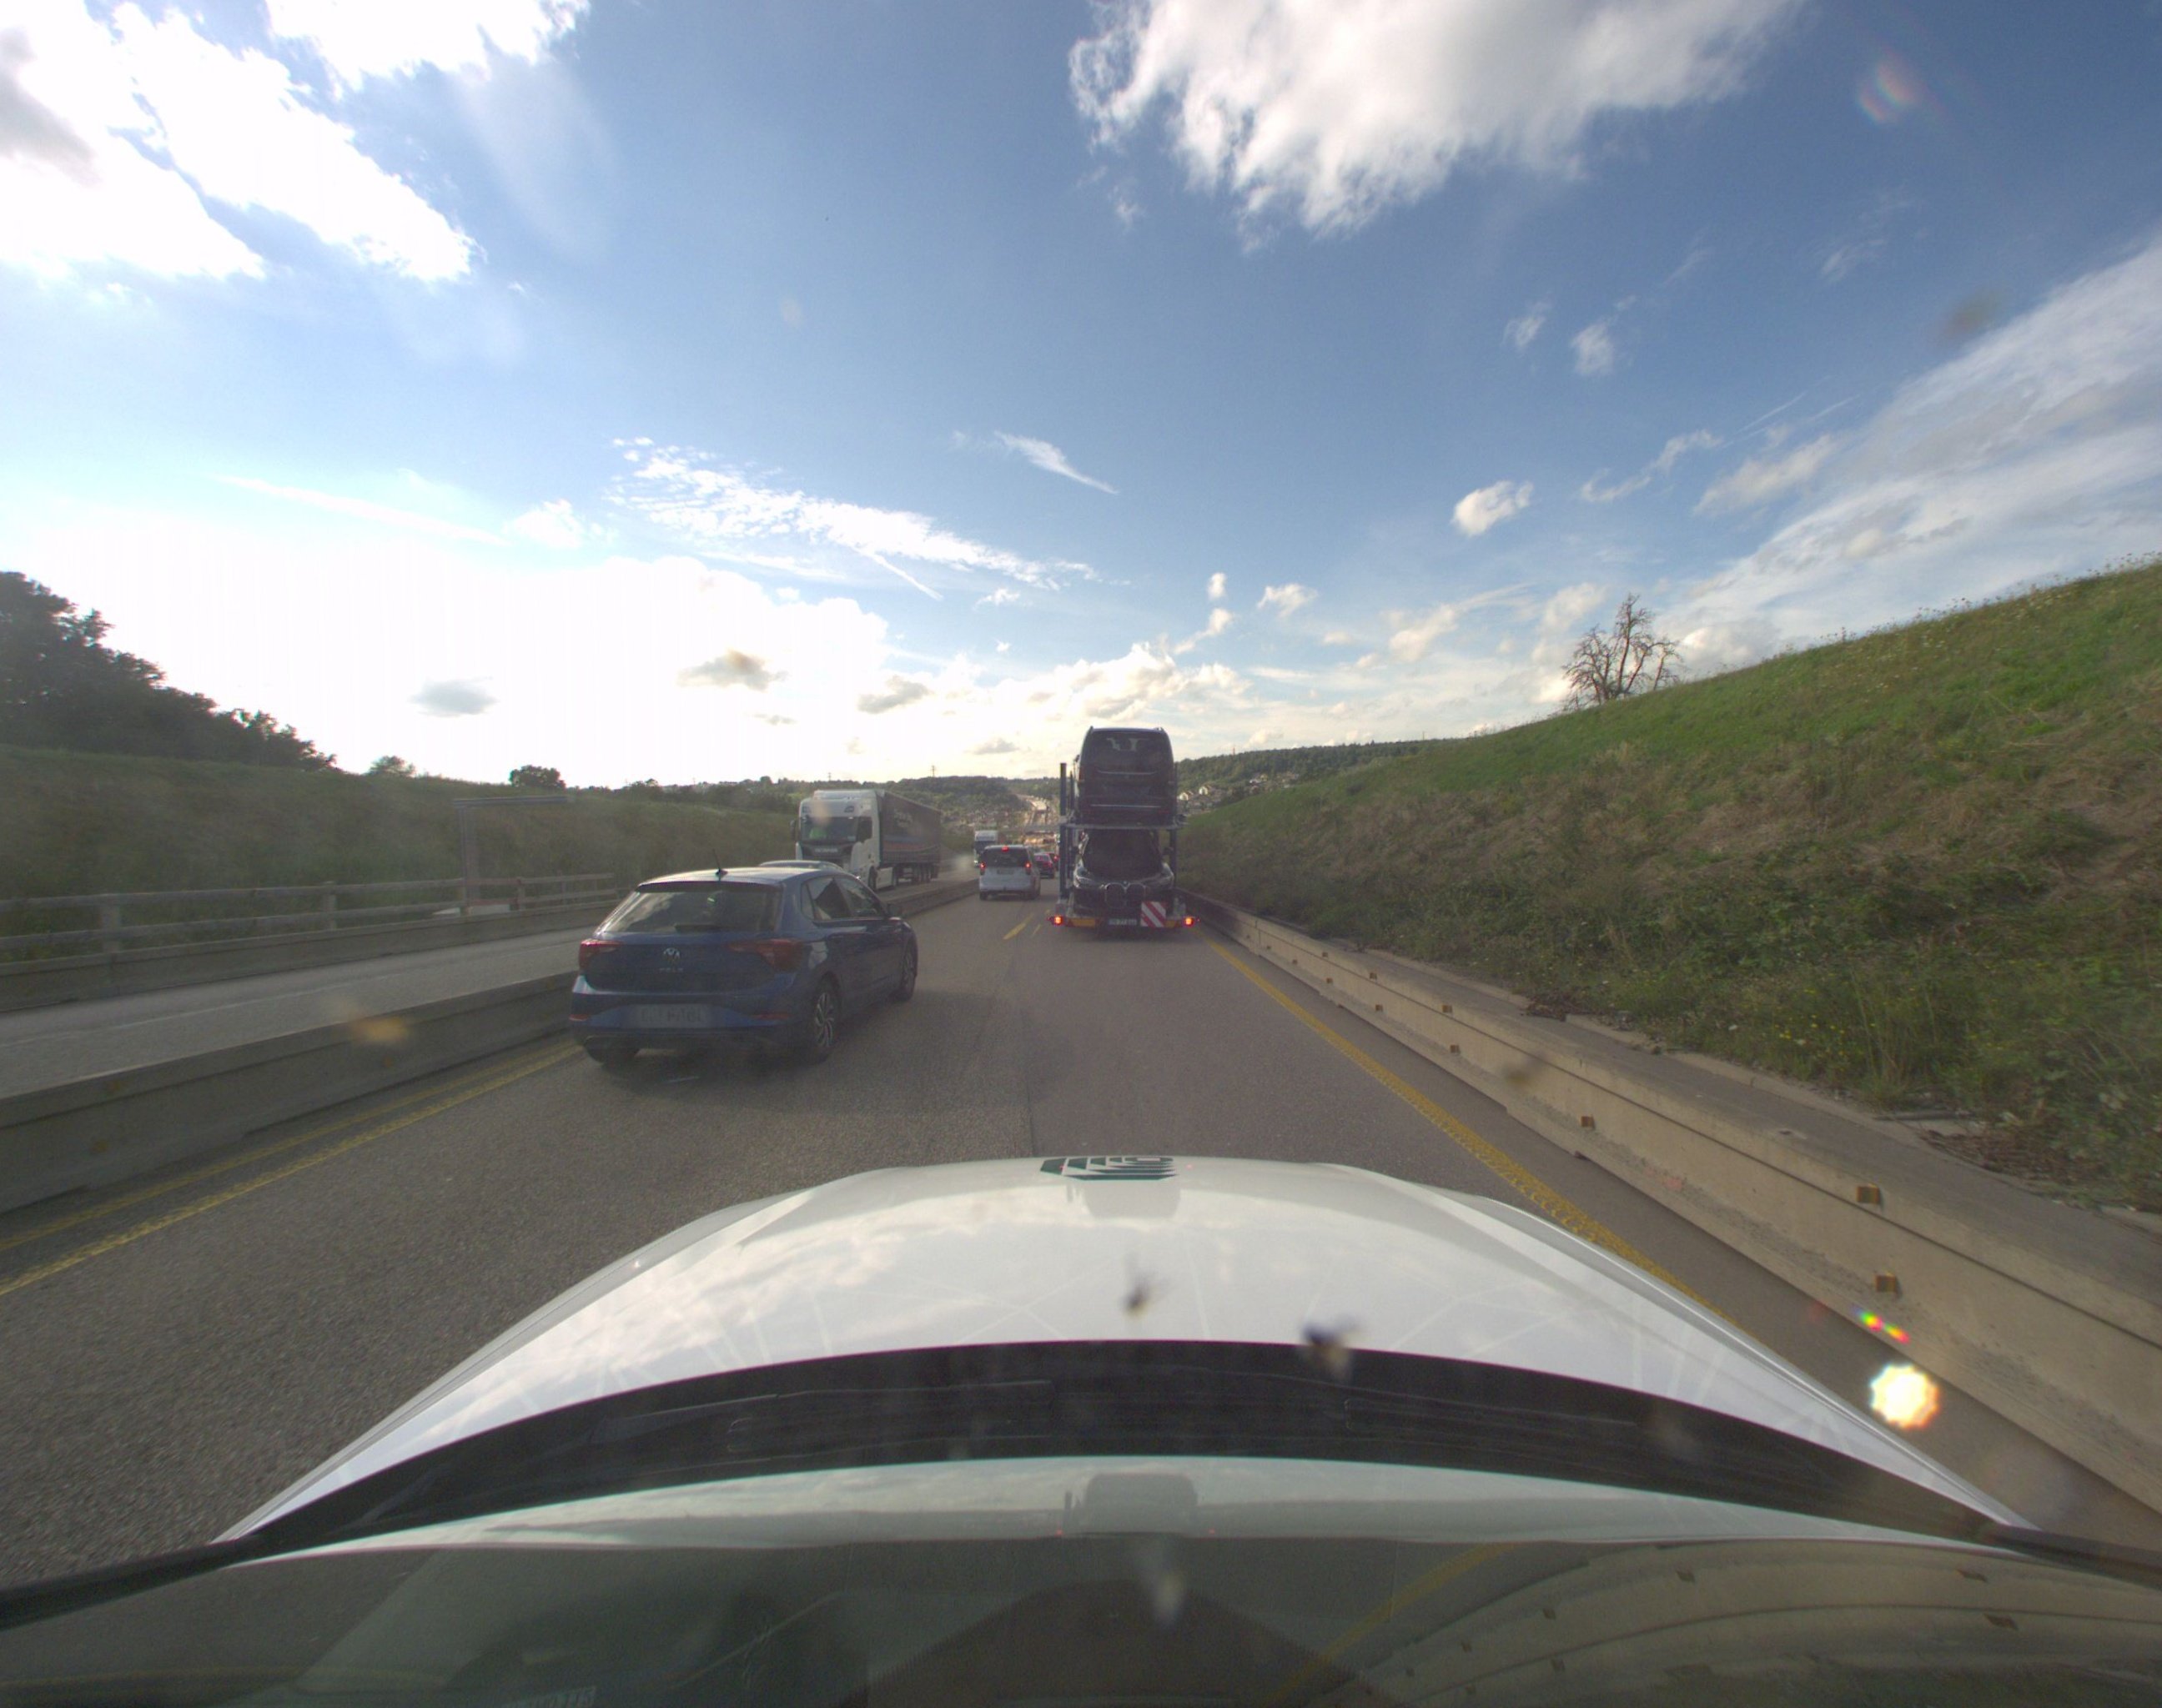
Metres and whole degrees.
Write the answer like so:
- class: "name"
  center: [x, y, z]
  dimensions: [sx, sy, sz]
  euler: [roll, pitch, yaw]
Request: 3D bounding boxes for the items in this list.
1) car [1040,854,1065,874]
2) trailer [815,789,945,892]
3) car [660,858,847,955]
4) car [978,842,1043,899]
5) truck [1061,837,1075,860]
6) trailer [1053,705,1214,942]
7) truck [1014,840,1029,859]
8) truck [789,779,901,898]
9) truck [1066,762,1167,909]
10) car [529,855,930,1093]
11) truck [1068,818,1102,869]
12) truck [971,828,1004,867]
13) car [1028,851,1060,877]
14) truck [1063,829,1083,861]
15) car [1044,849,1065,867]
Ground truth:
- class: "car"
  center: [-2.393, 0.827, 70.340]
  dimensions: [1.987, 1.625, 4.749]
  euler: [1, 0, -1]
- class: "trailer"
  center: [-8.953, -0.535, 38.504]
  dimensions: [2.606, 3.953, 13.873]
  euler: [-1, 0, 0]
- class: "car"
  center: [-5.973, 0.885, 15.428]
  dimensions: [1.814, 1.603, 4.001]
  euler: [0, -1, 2]
- class: "car"
  center: [-2.355, 0.508, 28.308]
  dimensions: [1.817, 1.823, 4.457]
  euler: [0, 1, 1]
- class: "truck"
  center: [-2.786, -1.197, 171.395]
  dimensions: [2.856, 4.570, 11.650]
  euler: [-1, 0, -2]
- class: "trailer"
  center: [0.972, -0.545, 19.690]
  dimensions: [2.699, 4.029, 11.420]
  euler: [-1, 0, 1]
- class: "truck"
  center: [-13.066, -0.953, 180.008]
  dimensions: [2.631, 4.099, 10.814]
  euler: [-1, 0, -1]
- class: "truck"
  center: [-9.003, -0.555, 31.719]
  dimensions: [2.606, 4.153, 5.781]
  euler: [-1, 0, 0]
- class: "truck"
  center: [1.000, -0.519, 24.995]
  dimensions: [2.669, 3.922, 6.027]
  euler: [-1, 0, 0]
- class: "car"
  center: [-2.636, 0.774, 7.229]
  dimensions: [1.708, 1.508, 4.002]
  euler: [0, 0, 2]
- class: "truck"
  center: [0.271, -0.990, 79.065]
  dimensions: [2.856, 4.570, 11.650]
  euler: [-1, 0, -2]
- class: "truck"
  center: [-10.379, -0.730, 91.569]
  dimensions: [2.631, 4.099, 10.812]
  euler: [-1, 0, -1]
- class: "car"
  center: [-2.222, 0.583, 49.419]
  dimensions: [1.818, 1.492, 4.682]
  euler: [0, 1, -1]
- class: "truck"
  center: [-1.289, -1.312, 123.377]
  dimensions: [2.856, 4.570, 11.650]
  euler: [-1, 0, -2]
- class: "car"
  center: [-2.465, 0.385, 76.371]
  dimensions: [1.791, 1.596, 4.741]
  euler: [-1, 0, 0]
